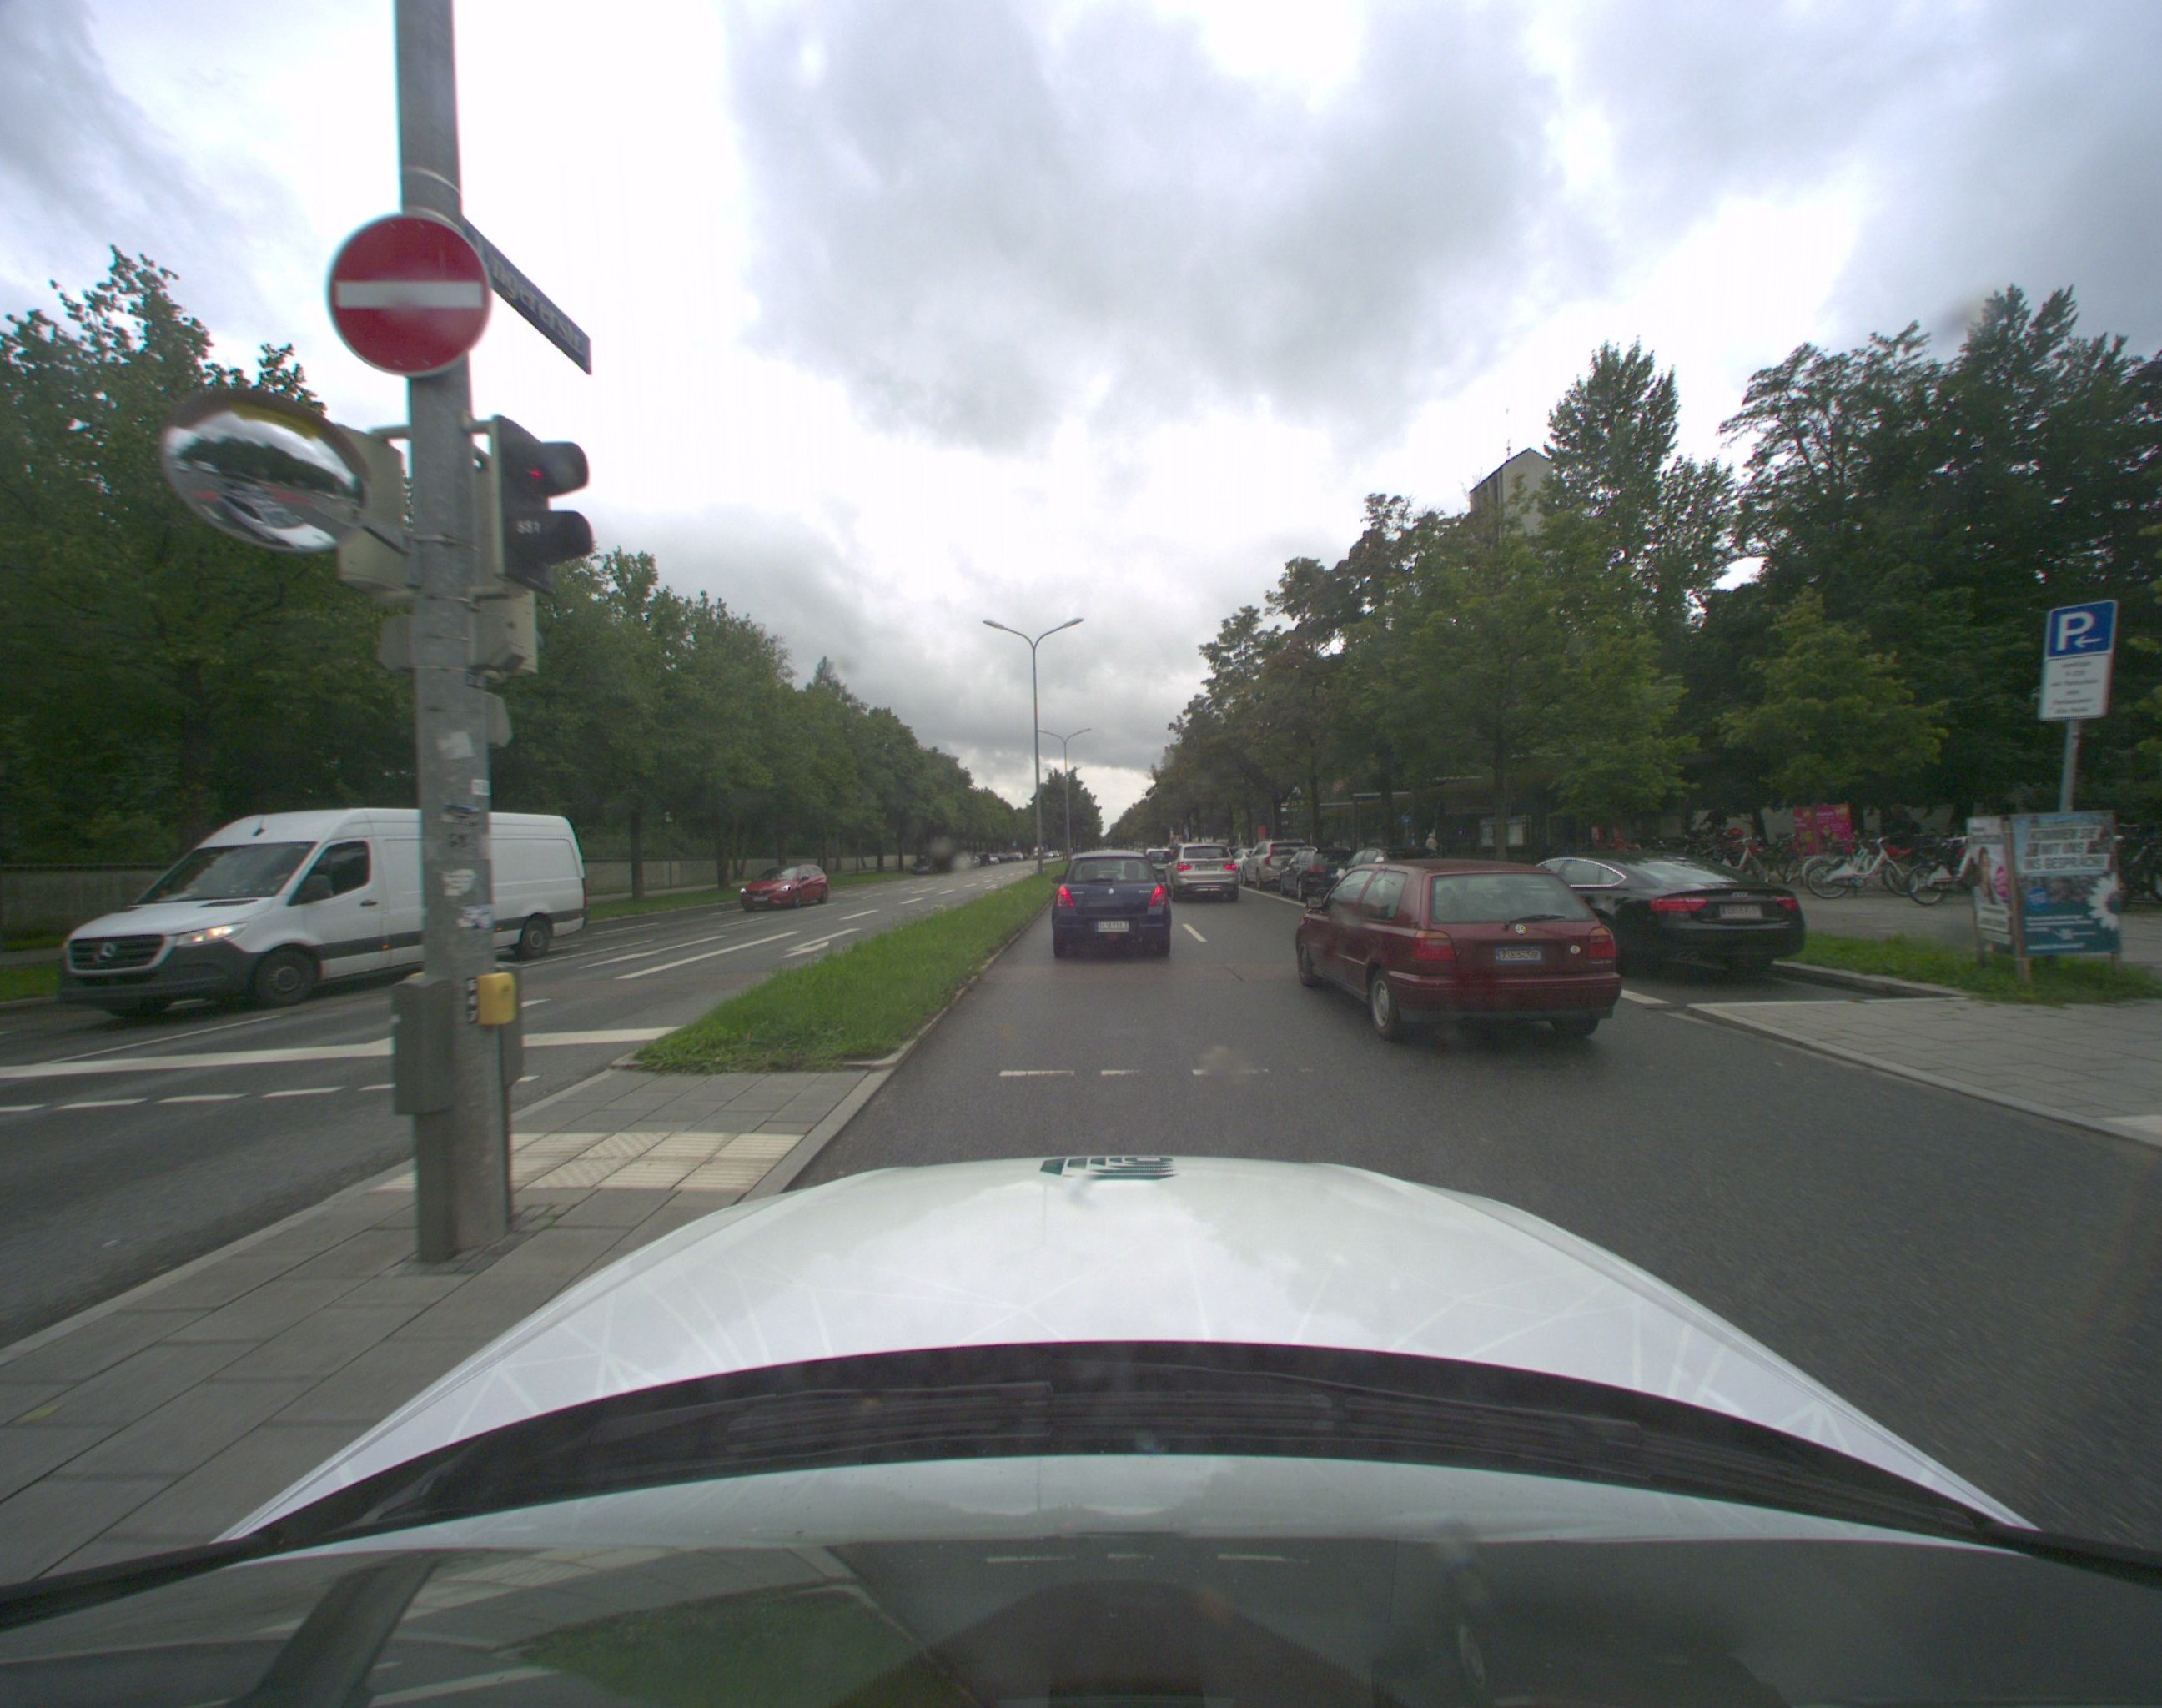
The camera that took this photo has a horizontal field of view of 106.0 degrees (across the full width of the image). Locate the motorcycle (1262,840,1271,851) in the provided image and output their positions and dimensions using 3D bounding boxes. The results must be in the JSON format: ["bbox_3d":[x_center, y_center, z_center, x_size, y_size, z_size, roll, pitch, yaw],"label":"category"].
[{"bbox_3d":[25.037,-1.150,109.740,0.693,1.290,2.067,-7,0,2],"label":"motorcycle"}]

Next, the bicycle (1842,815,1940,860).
[{"bbox_3d":[24.189,-0.498,24.328,2.330,1.157,0.529,-4,0,1],"label":"bicycle"}]

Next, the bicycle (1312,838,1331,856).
[{"bbox_3d":[17.875,-0.553,60.590,0.643,1.280,2.551,-2,0,2],"label":"bicycle"}]

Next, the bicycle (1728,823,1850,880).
[{"bbox_3d":[16.820,-0.057,19.373,2.330,1.157,0.585,-4,0,1],"label":"bicycle"}]

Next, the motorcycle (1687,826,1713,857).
[{"bbox_3d":[22.127,-0.466,29.118,0.650,1.062,1.825,-2,1,39],"label":"motorcycle"}]

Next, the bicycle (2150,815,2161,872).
[{"bbox_3d":[23.378,-0.301,16.625,2.330,1.157,0.529,-4,0,1],"label":"bicycle"}]

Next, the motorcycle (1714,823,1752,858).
[{"bbox_3d":[22.809,-0.486,28.528,0.650,1.177,1.824,-2,1,27],"label":"motorcycle"}]

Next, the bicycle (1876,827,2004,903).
[{"bbox_3d":[14.560,0.170,13.810,1.806,1.142,0.565,-4,0,-10],"label":"bicycle"}]

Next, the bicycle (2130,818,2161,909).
[{"bbox_3d":[14.808,0.118,10.180,0.857,1.198,2.003,-4,0,6],"label":"bicycle"}]

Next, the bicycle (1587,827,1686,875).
[{"bbox_3d":[15.512,-0.080,22.755,2.330,1.157,0.529,-4,0,1],"label":"bicycle"}]

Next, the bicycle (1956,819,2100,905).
[{"bbox_3d":[15.104,0.120,12.997,1.939,1.212,0.565,-4,0,-10],"label":"bicycle"}]

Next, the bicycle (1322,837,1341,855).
[{"bbox_3d":[18.590,-0.581,60.552,0.643,1.280,2.551,-2,0,2],"label":"bicycle"}]

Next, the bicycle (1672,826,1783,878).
[{"bbox_3d":[16.703,-0.058,21.060,2.330,1.157,0.585,-4,0,1],"label":"bicycle"}]

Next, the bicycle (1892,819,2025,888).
[{"bbox_3d":[16.514,-0.011,15.348,1.799,1.142,0.567,-4,0,1],"label":"bicycle"}]

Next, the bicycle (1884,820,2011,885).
[{"bbox_3d":[16.965,-0.026,15.970,1.799,1.142,0.567,-4,0,1],"label":"bicycle"}]

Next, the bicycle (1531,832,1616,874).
[{"bbox_3d":[15.811,-0.034,26.162,2.330,1.157,0.529,-4,0,1],"label":"bicycle"}]

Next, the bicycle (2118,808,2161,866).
[{"bbox_3d":[23.458,-0.416,17.216,2.330,1.157,0.529,-4,0,1],"label":"bicycle"}]

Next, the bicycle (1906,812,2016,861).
[{"bbox_3d":[23.869,-0.471,22.099,2.330,1.157,0.529,-4,0,1],"label":"bicycle"}]

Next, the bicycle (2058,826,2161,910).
[{"bbox_3d":[15.239,0.180,11.783,1.806,1.071,0.565,-4,0,-10],"label":"bicycle"}]

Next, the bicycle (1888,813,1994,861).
[{"bbox_3d":[23.950,-0.478,22.691,2.330,1.157,0.529,-4,0,1],"label":"bicycle"}]

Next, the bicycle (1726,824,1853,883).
[{"bbox_3d":[16.266,-0.021,18.730,2.330,1.157,0.585,-4,0,1],"label":"bicycle"}]

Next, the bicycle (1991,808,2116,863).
[{"bbox_3d":[23.636,-0.445,19.806,2.330,1.157,0.529,-4,0,1],"label":"bicycle"}]

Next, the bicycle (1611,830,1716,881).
[{"bbox_3d":[15.465,0.028,21.655,2.330,1.157,0.529,-4,0,1],"label":"bicycle"}]

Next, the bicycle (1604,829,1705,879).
[{"bbox_3d":[15.621,0.003,22.204,2.330,1.157,0.529,-4,0,1],"label":"bicycle"}]

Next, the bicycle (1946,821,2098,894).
[{"bbox_3d":[16.407,0.058,14.232,1.797,1.142,0.568,-4,0,6],"label":"bicycle"}]

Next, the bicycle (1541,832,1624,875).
[{"bbox_3d":[15.548,-0.021,25.251,2.336,1.157,0.528,-5,0,-8],"label":"bicycle"}]

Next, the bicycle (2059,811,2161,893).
[{"bbox_3d":[17.194,-0.054,13.347,1.939,1.212,0.565,-4,0,-10],"label":"bicycle"}]

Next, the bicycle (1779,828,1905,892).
[{"bbox_3d":[15.008,0.117,16.099,1.797,1.142,0.568,-4,0,6],"label":"bicycle"}]

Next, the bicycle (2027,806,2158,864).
[{"bbox_3d":[23.690,-0.438,19.082,2.330,1.157,0.529,-4,0,1],"label":"bicycle"}]

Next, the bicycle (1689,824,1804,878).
[{"bbox_3d":[16.690,-0.073,20.450,2.330,1.157,0.585,-4,0,1],"label":"bicycle"}]

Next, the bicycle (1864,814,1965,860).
[{"bbox_3d":[24.225,-0.492,23.692,2.330,1.157,0.529,-4,0,1],"label":"bicycle"}]

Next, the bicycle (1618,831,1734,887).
[{"bbox_3d":[14.441,0.110,19.791,2.330,1.157,0.585,-4,0,1],"label":"bicycle"}]

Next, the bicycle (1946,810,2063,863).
[{"bbox_3d":[23.639,-0.455,20.863,2.330,1.157,0.529,-4,0,1],"label":"bicycle"}]

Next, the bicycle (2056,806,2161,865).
[{"bbox_3d":[23.553,-0.429,18.392,2.330,1.157,0.529,-4,0,1],"label":"bicycle"}]
